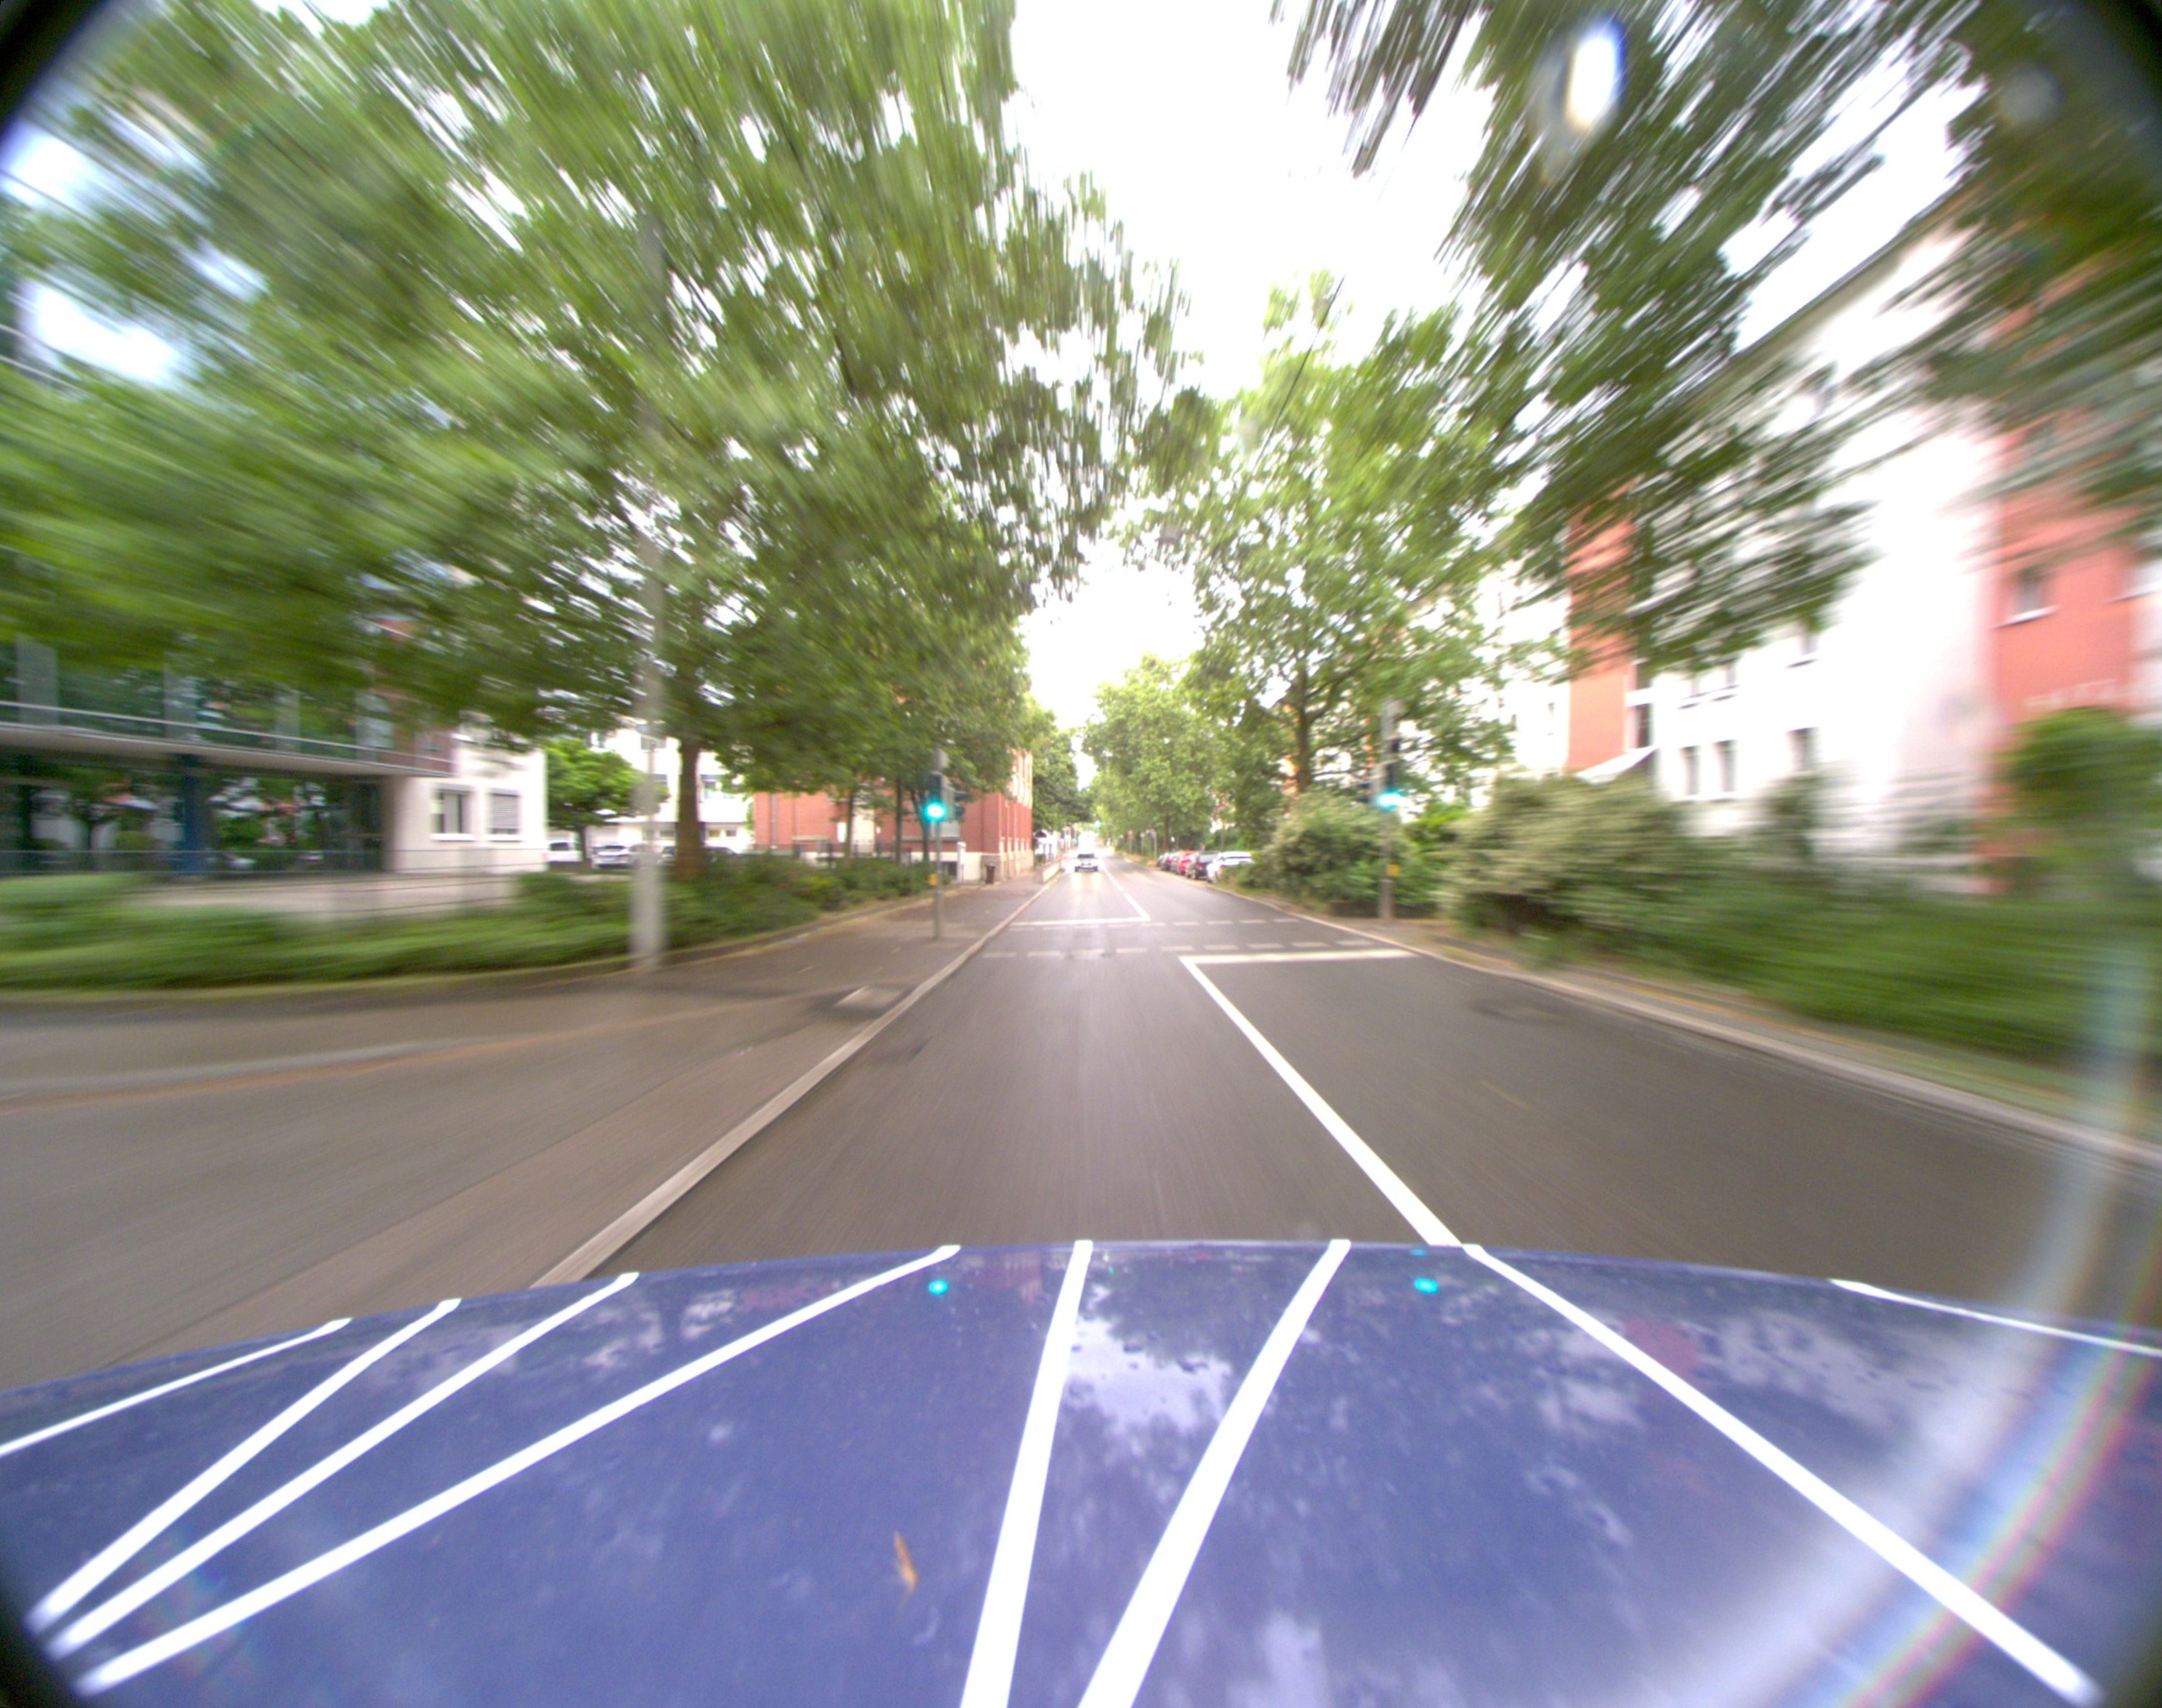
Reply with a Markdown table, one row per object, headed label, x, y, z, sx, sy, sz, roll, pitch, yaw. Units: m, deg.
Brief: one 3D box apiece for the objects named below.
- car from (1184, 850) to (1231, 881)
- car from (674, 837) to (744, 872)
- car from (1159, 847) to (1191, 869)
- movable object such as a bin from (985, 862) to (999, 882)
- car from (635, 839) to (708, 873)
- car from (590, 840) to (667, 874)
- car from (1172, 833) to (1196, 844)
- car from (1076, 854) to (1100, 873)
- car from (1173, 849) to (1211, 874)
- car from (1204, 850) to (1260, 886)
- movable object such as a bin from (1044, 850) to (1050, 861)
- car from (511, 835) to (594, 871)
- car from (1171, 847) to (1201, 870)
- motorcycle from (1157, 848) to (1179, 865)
| label | x | y | z | sx | sy | sz | roll | pitch | yaw |
| --- | --- | --- | --- | --- | --- | --- | --- | --- | --- |
| car | 6.638 | 0.562 | 40.296 | 1.721 | 1.459 | 4.232 | -1 | 1 | -1 |
| car | -21.537 | -0.023 | 44.207 | 1.913 | 1.808 | 3.997 | -2 | 2 | 1 |
| car | 7.066 | 0.259 | 57.522 | 1.721 | 1.501 | 4.803 | -1 | 1 | -1 |
| movable object such as a bin | -4.231 | 0.860 | 36.062 | 0.592 | 0.927 | 0.572 | 1 | 1 | 0 |
| car | -23.819 | 0.065 | 44.400 | 1.913 | 1.808 | 3.997 | -2 | 2 | 1 |
| car | -26.358 | 0.124 | 44.445 | 1.913 | 1.808 | 3.997 | -2 | 2 | 1 |
| car | 17.153 | -2.648 | 126.565 | 3.801 | 1.679 | 1.737 | -2 | 2 | -2 |
| car | 0.498 | 0.715 | 59.067 | 1.692 | 1.334 | 3.998 | 0 | 1 | -2 |
| car | 6.812 | 0.427 | 46.985 | 1.721 | 1.459 | 3.755 | -1 | 1 | -1 |
| car | 6.684 | 0.575 | 34.020 | 1.721 | 1.459 | 4.309 | -1 | 1 | 2 |
| movable object such as a bin | -3.400 | 0.183 | 75.714 | 0.506 | 1.109 | 0.618 | 0 | 2 | 1 |
| car | -31.048 | -0.083 | 44.826 | 1.913 | 1.938 | 3.997 | -2 | 2 | 1 |
| car | 7.208 | 0.301 | 52.357 | 1.559 | 1.459 | 3.396 | -1 | 1 | -1 |
| motorcycle | 7.155 | 0.206 | 62.591 | 1.717 | 1.332 | 0.722 | 0 | 1 | 1 |
